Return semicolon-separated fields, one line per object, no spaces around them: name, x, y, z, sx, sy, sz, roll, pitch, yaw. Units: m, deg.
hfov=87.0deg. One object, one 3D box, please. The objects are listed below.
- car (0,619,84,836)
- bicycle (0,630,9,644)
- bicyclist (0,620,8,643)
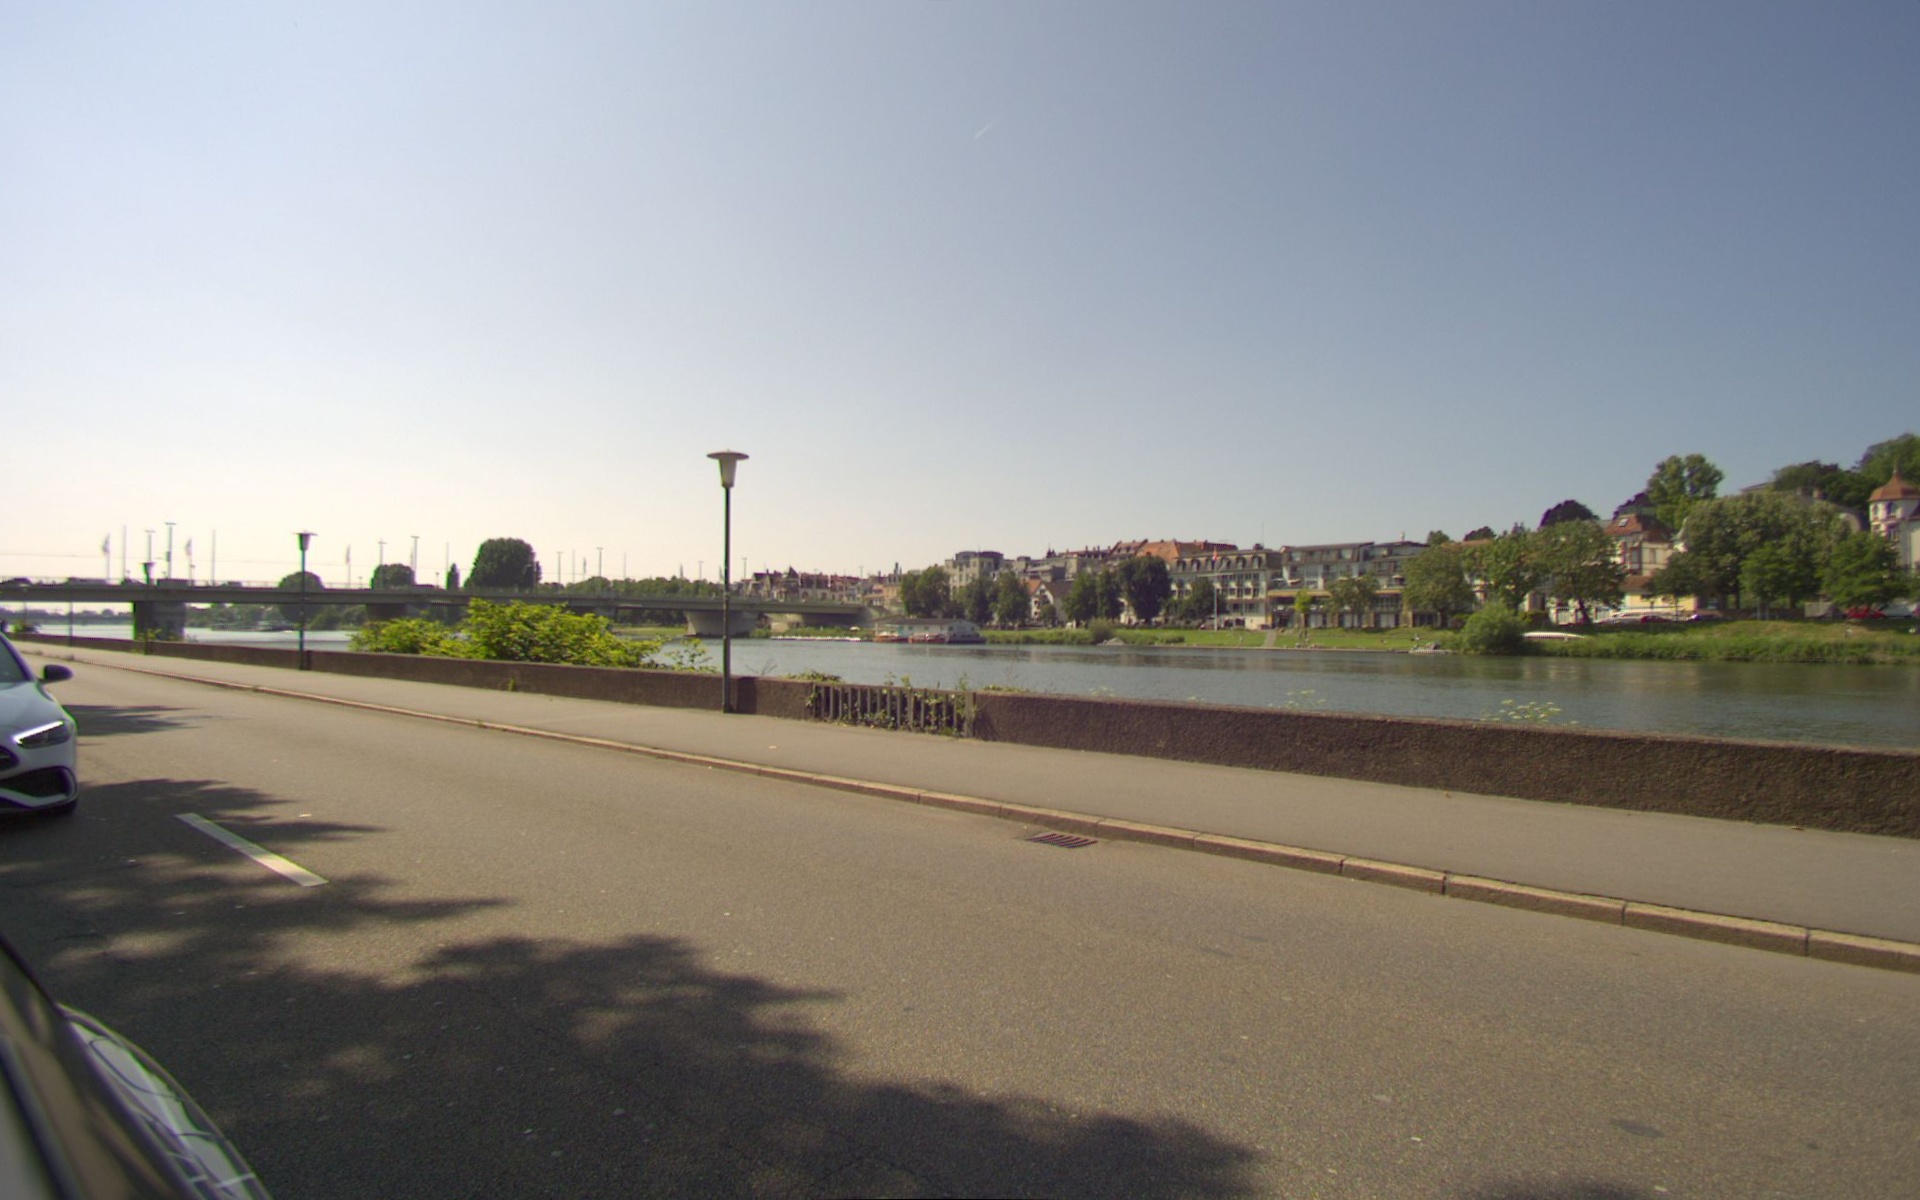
car;-8.359;0.884;7.861;4.551;1.430;1.806;-1;-1;42
bicycle;-69.798;2.710;73.667;1.943;0.990;0.645;-1;-2;42
bicyclist;-69.803;2.292;73.667;0.975;1.715;0.654;-1;-2;42
